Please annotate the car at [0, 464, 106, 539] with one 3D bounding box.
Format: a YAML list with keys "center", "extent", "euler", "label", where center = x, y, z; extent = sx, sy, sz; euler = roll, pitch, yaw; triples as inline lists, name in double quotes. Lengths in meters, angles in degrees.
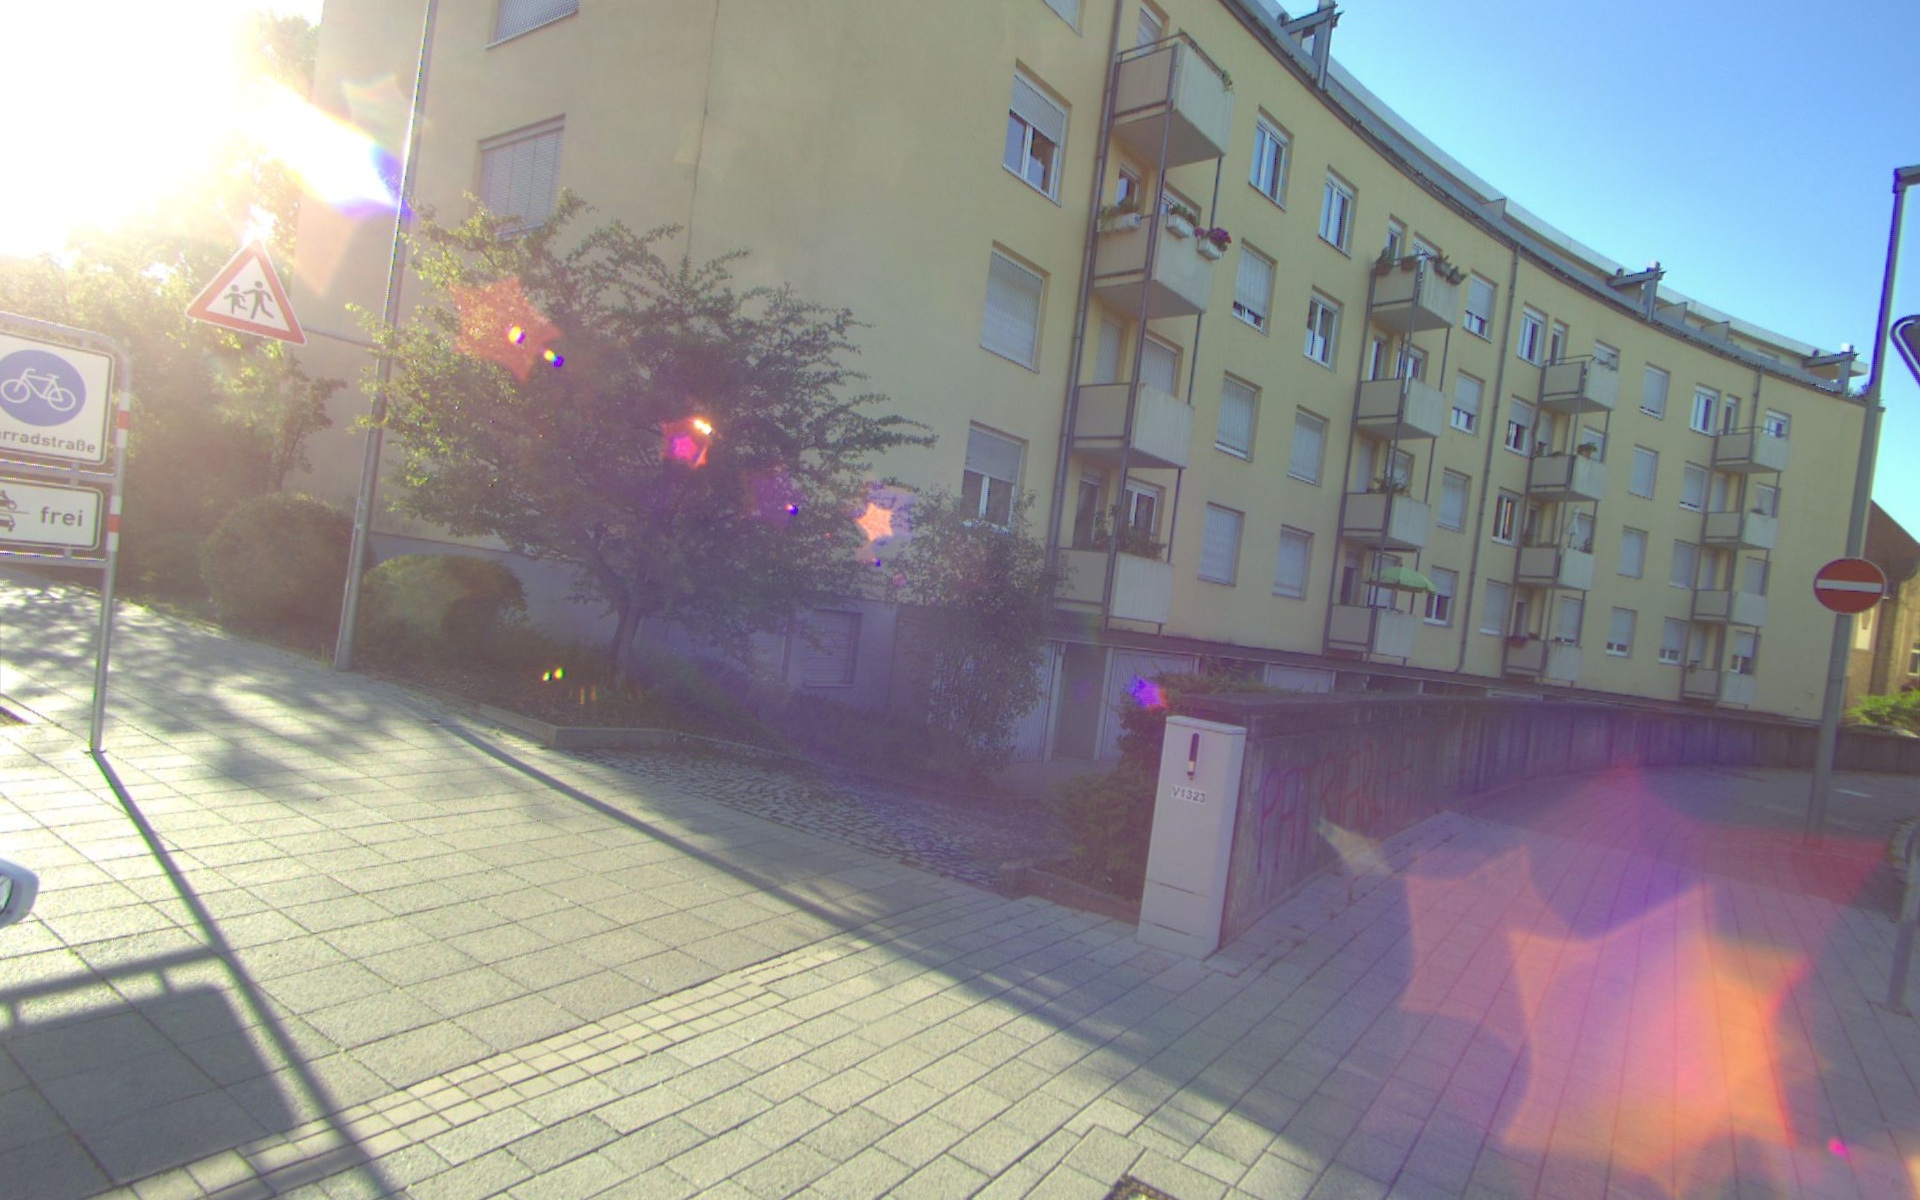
- center: [-25.590, -2.769, 27.226]
  extent: [1.620, 1.661, 3.489]
  euler: [7, -1, 41]
  label: "car"
